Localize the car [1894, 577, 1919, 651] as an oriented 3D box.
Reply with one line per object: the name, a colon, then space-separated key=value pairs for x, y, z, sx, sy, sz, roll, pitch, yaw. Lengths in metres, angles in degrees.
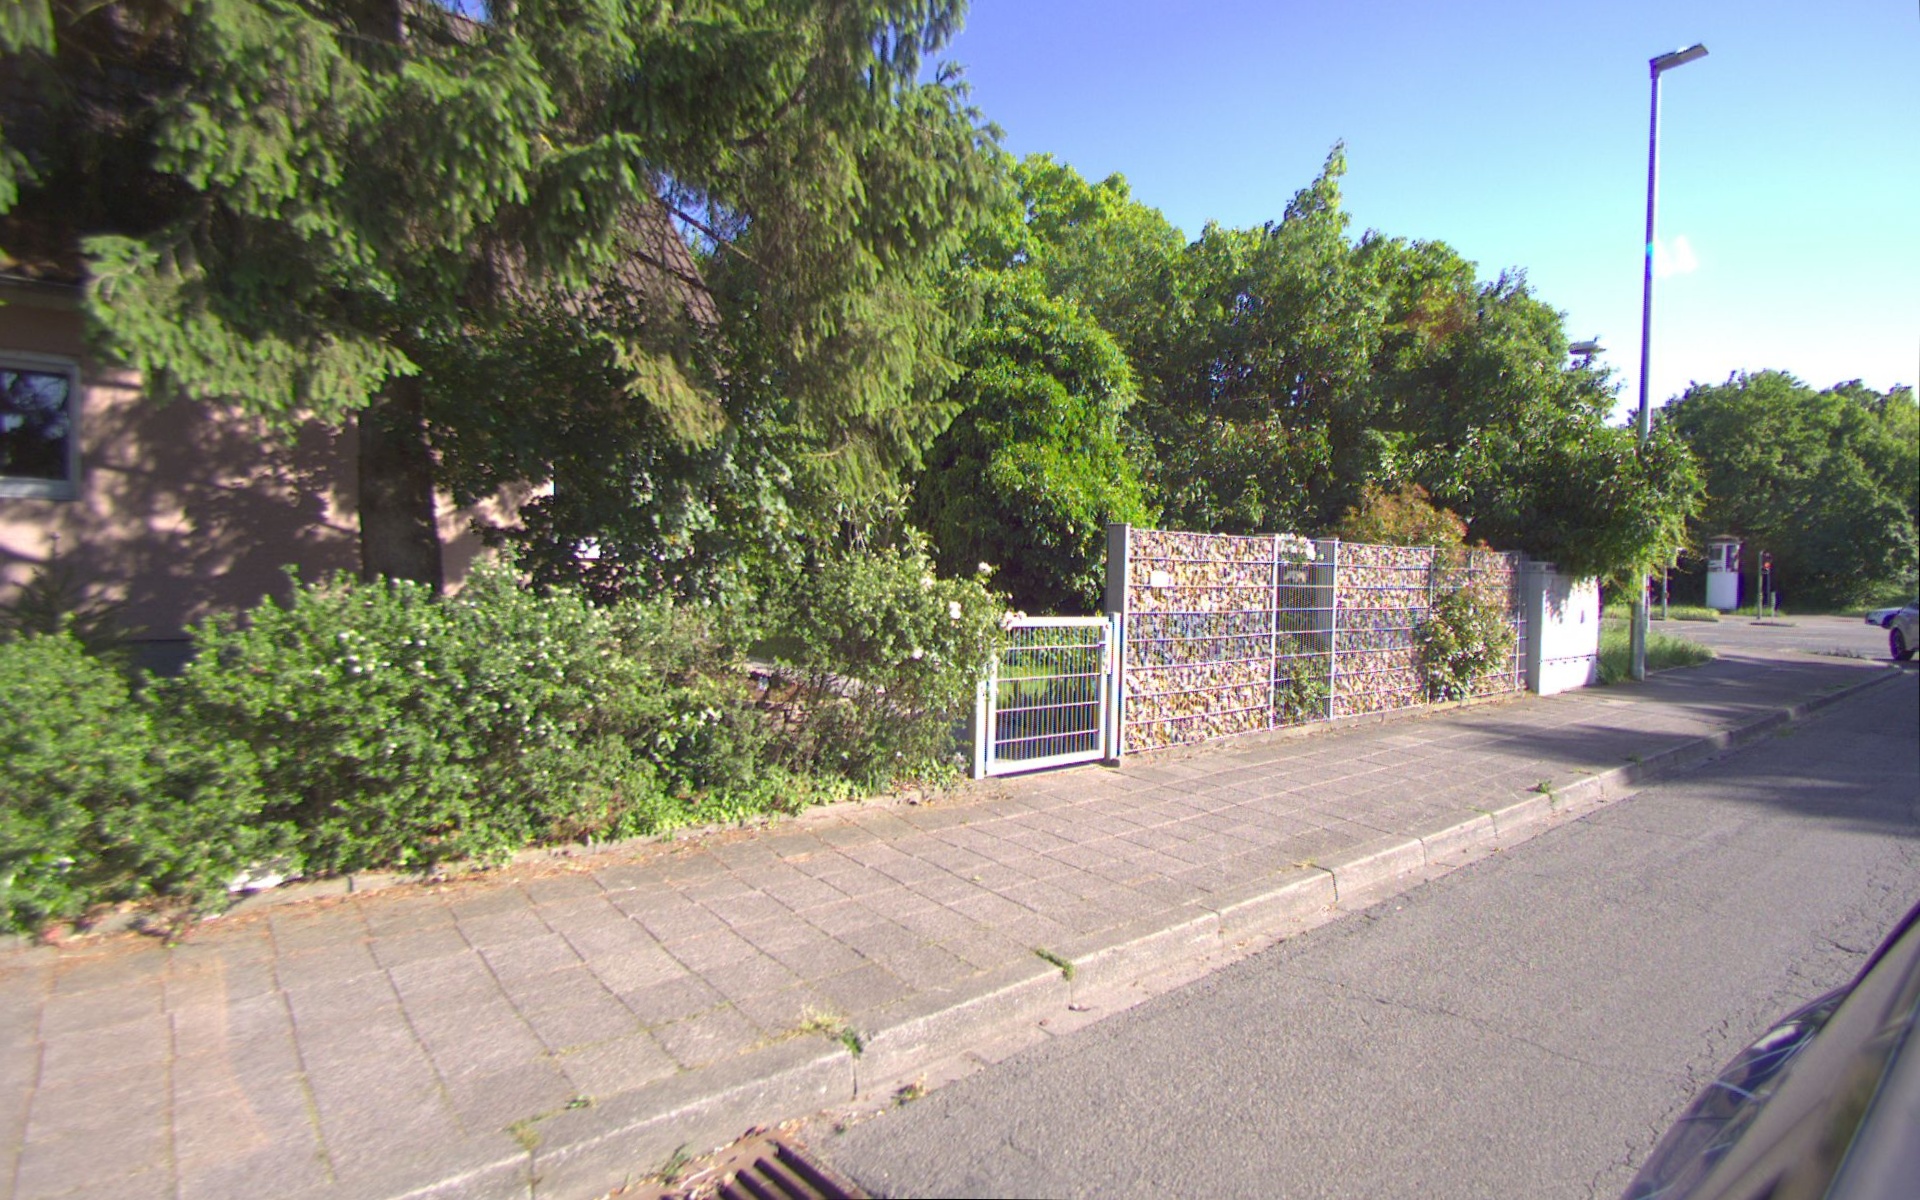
car: x=21.392 y=0.343 z=20.945 sx=1.674 sy=1.592 sz=4.090 roll=2 pitch=1 yaw=23

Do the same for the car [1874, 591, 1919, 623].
car: x=41.805 y=0.373 z=42.762 sx=4.475 sy=1.243 sz=1.671 roll=4 pitch=3 yaw=36

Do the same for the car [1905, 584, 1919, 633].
car: x=31.778 y=0.273 z=31.050 sx=3.890 sy=1.457 sz=1.671 roll=0 pitch=3 yaw=38
